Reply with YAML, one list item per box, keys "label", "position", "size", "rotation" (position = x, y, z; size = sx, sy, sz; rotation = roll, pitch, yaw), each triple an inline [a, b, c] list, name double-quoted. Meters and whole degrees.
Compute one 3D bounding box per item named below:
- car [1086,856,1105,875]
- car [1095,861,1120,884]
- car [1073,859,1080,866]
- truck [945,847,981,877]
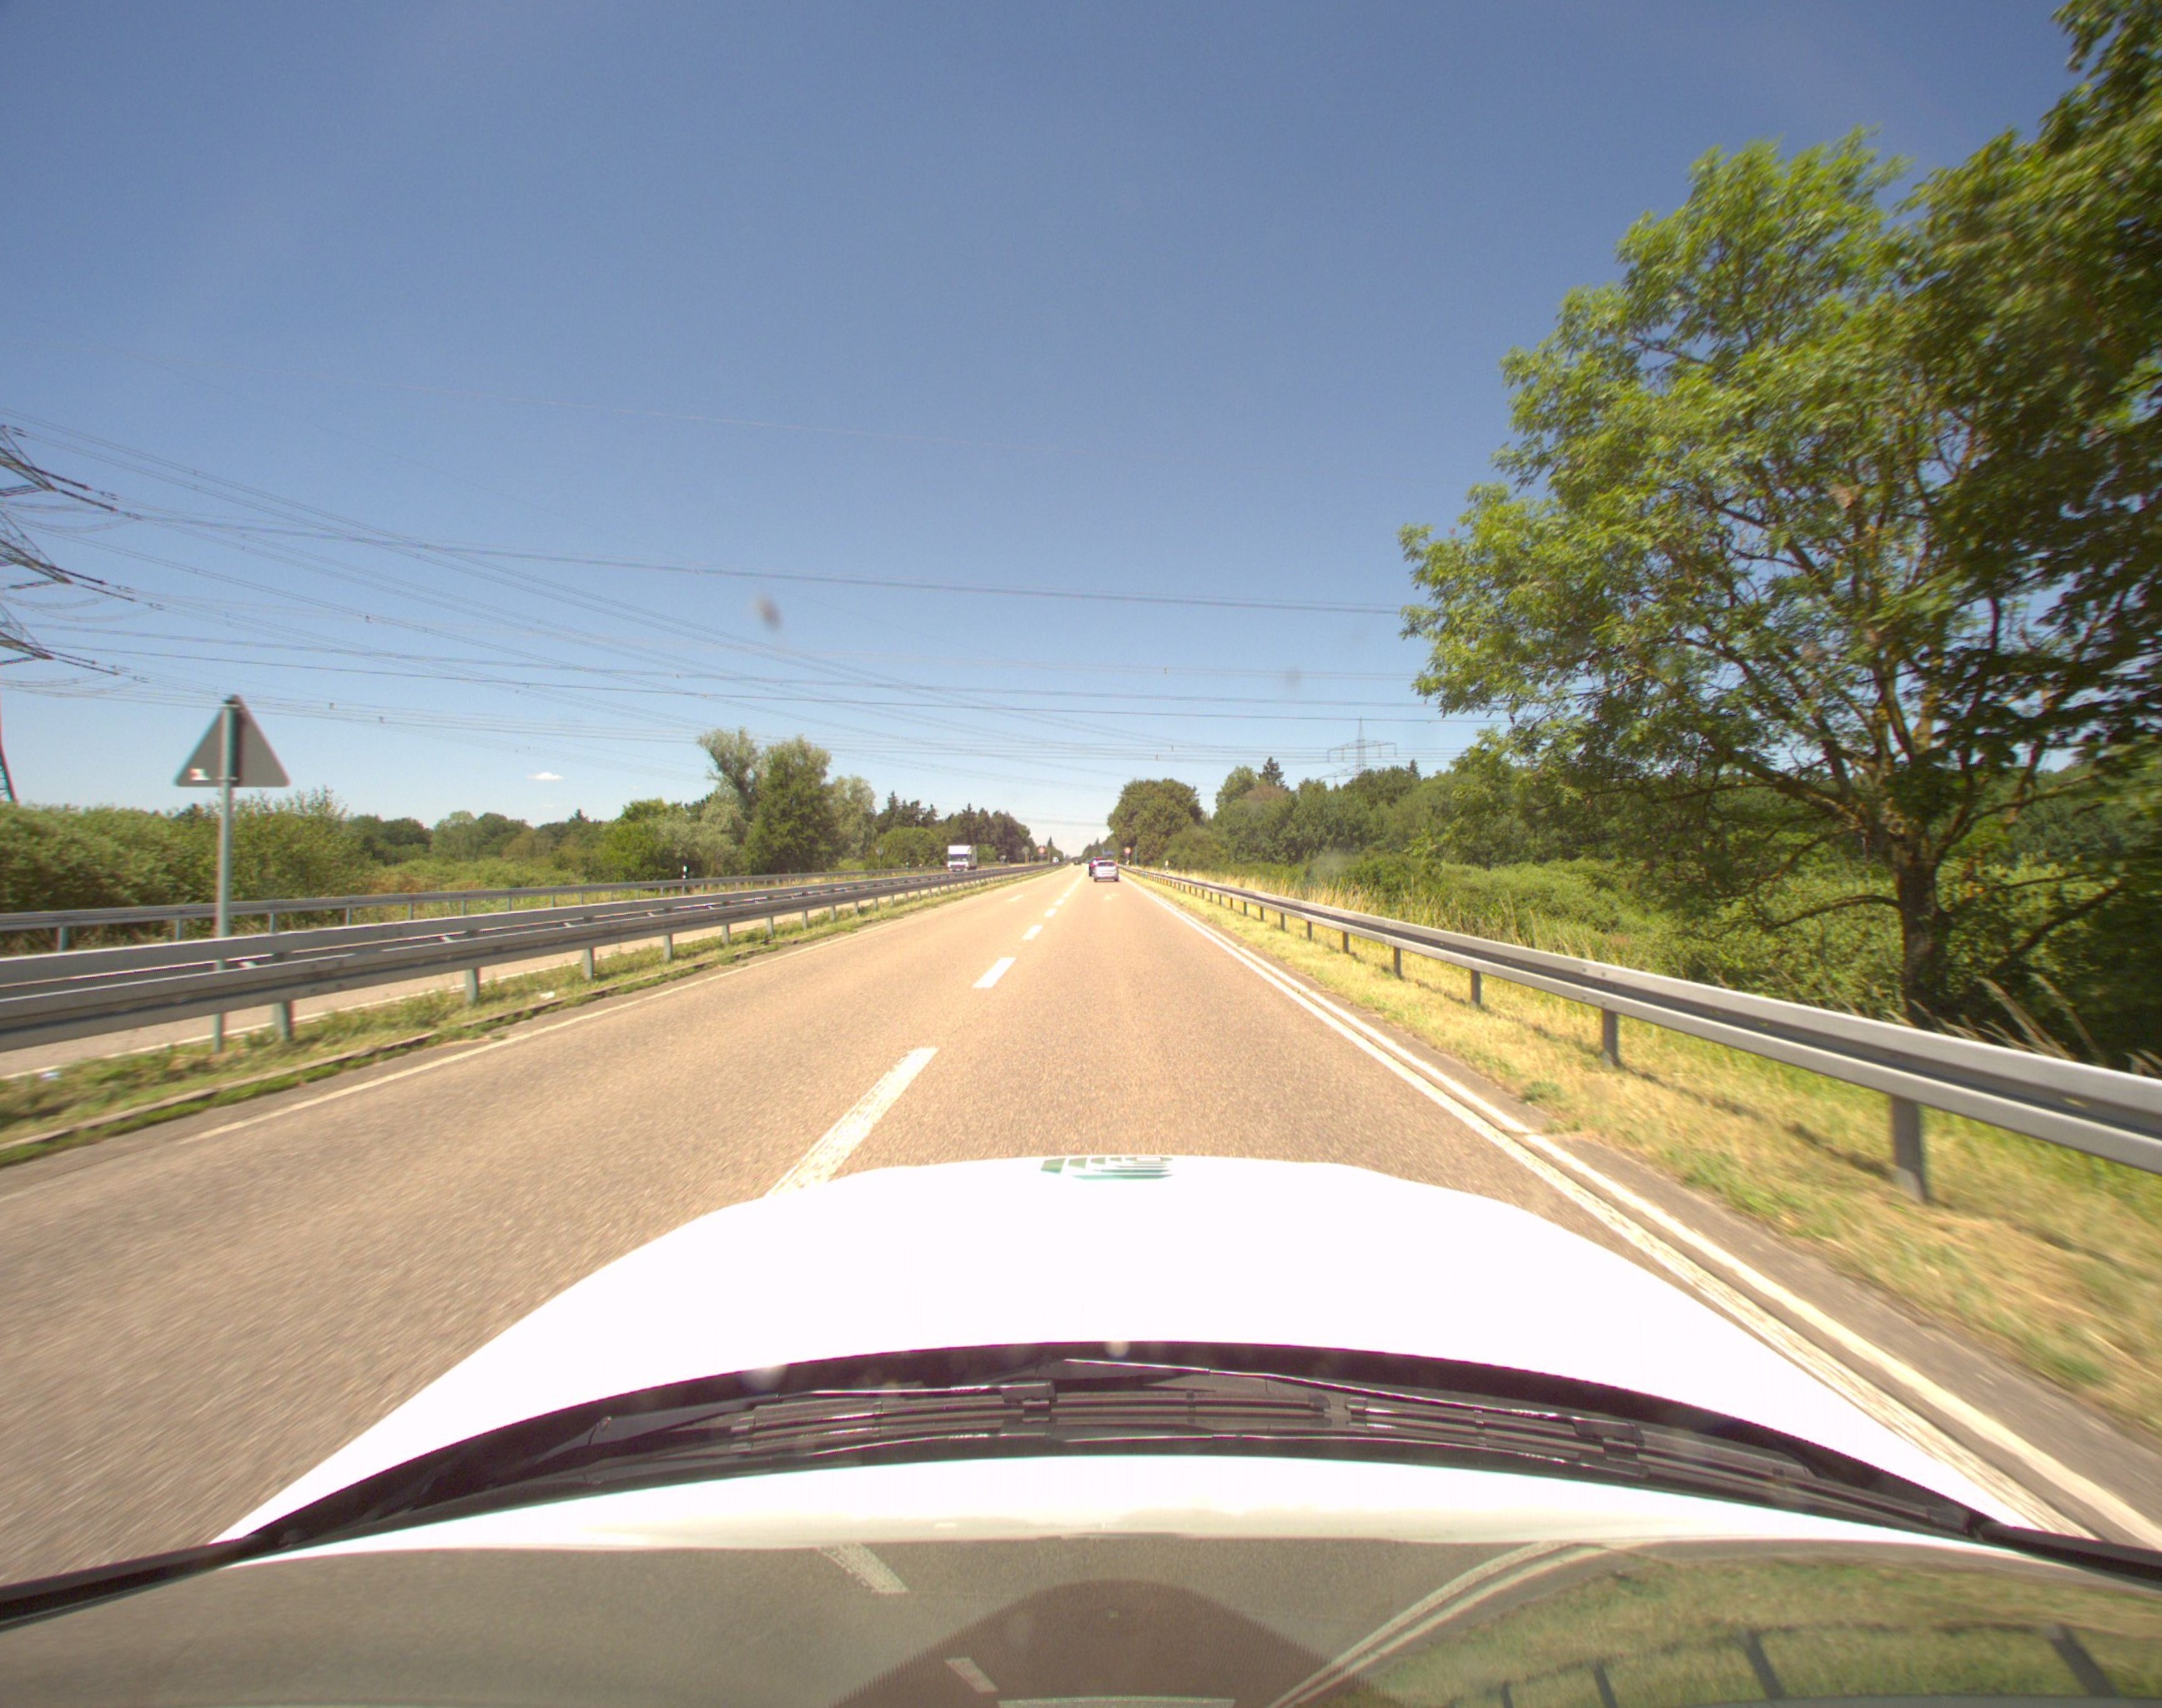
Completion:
- label: "car"
  position: [1.323, 1.029, 74.690]
  size: [1.635, 1.654, 3.573]
  rotation: [2, -1, 0]
- label: "car"
  position: [1.775, 1.221, 55.588]
  size: [1.634, 1.468, 3.419]
  rotation: [2, -1, 1]
- label: "car"
  position: [-1.010, 2.076, 198.932]
  size: [1.707, 1.471, 3.573]
  rotation: [2, -1, 0]
- label: "truck"
  position: [-13.414, 0.925, 93.153]
  size: [2.708, 3.193, 8.406]
  rotation: [-1, -1, 1]
